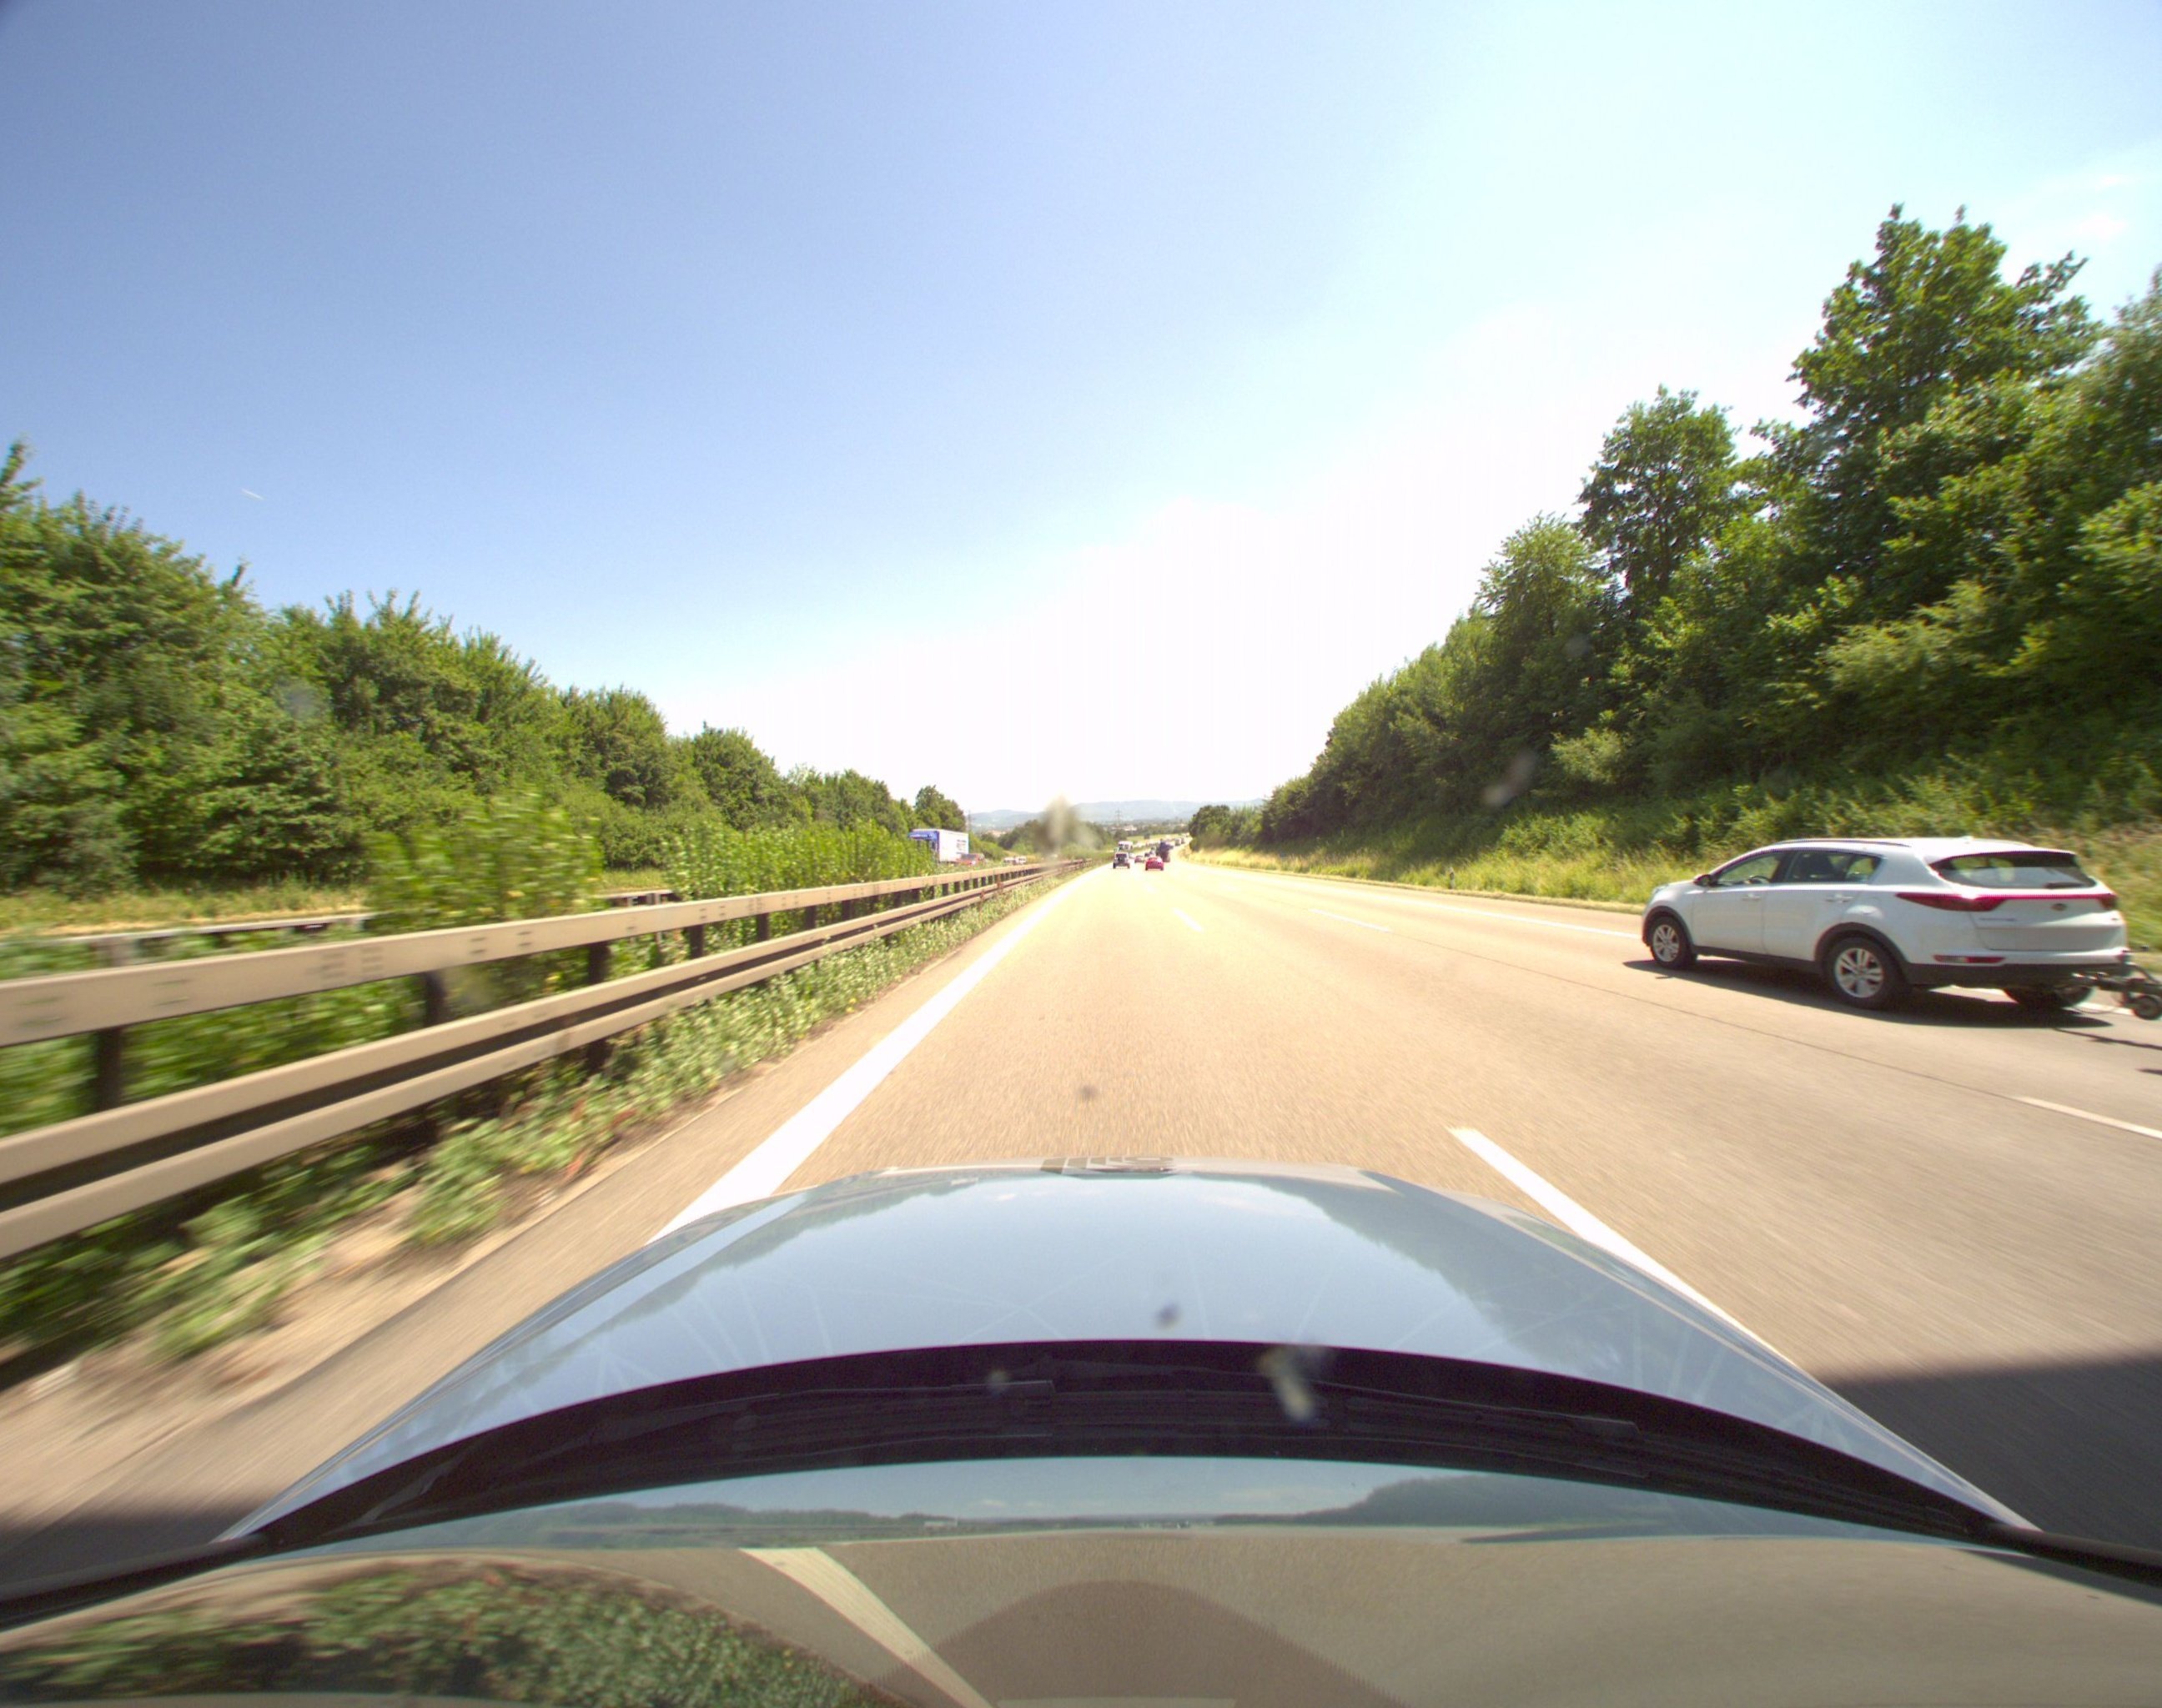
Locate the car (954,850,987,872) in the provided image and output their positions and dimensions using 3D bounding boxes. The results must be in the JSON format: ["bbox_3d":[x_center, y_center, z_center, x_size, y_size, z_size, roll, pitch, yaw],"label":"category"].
[{"bbox_3d":[-9.775,0.585,72.716,1.853,1.880,5.829,0,1,3],"label":"car"}]

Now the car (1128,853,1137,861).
[{"bbox_3d":[13.252,0.859,209.732,1.687,2.013,3.834,0,1,11],"label":"car"}]

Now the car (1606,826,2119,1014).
[{"bbox_3d":[8.321,0.545,9.399,1.775,1.650,4.404,0,1,1],"label":"car"}]

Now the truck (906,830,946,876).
[{"bbox_3d":[-14.204,-0.133,75.068,2.483,4.118,5.088,0,1,2],"label":"truck"}]

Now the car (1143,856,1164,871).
[{"bbox_3d":[7.250,0.925,81.563,1.681,1.378,3.948,0,1,-1],"label":"car"}]

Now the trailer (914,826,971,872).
[{"bbox_3d":[-13.792,-0.604,82.537,2.624,4.253,14.687,0,1,3],"label":"trailer"}]

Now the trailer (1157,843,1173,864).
[{"bbox_3d":[16.808,-0.237,163.360,2.842,3.993,15.417,0,1,4],"label":"trailer"}]

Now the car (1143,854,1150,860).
[{"bbox_3d":[19.481,0.882,240.857,1.625,1.704,3.412,0,1,11],"label":"car"}]

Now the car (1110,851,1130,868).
[{"bbox_3d":[4.506,0.618,94.703,2.076,1.829,4.754,0,1,1],"label":"car"}]

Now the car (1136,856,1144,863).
[{"bbox_3d":[10.670,0.979,147.476,1.446,1.267,3.542,0,1,3],"label":"car"}]

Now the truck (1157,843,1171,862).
[{"bbox_3d":[17.356,-0.337,170.996,2.742,3.852,6.652,0,1,4],"label":"truck"}]

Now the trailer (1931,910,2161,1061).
[{"bbox_3d":[8.250,0.959,4.934,1.748,0.908,4.320,0,0,1],"label":"trailer"}]

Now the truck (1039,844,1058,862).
[{"bbox_3d":[-7.415,-0.291,187.702,2.963,4.013,16.840,0,0,3],"label":"truck"}]
